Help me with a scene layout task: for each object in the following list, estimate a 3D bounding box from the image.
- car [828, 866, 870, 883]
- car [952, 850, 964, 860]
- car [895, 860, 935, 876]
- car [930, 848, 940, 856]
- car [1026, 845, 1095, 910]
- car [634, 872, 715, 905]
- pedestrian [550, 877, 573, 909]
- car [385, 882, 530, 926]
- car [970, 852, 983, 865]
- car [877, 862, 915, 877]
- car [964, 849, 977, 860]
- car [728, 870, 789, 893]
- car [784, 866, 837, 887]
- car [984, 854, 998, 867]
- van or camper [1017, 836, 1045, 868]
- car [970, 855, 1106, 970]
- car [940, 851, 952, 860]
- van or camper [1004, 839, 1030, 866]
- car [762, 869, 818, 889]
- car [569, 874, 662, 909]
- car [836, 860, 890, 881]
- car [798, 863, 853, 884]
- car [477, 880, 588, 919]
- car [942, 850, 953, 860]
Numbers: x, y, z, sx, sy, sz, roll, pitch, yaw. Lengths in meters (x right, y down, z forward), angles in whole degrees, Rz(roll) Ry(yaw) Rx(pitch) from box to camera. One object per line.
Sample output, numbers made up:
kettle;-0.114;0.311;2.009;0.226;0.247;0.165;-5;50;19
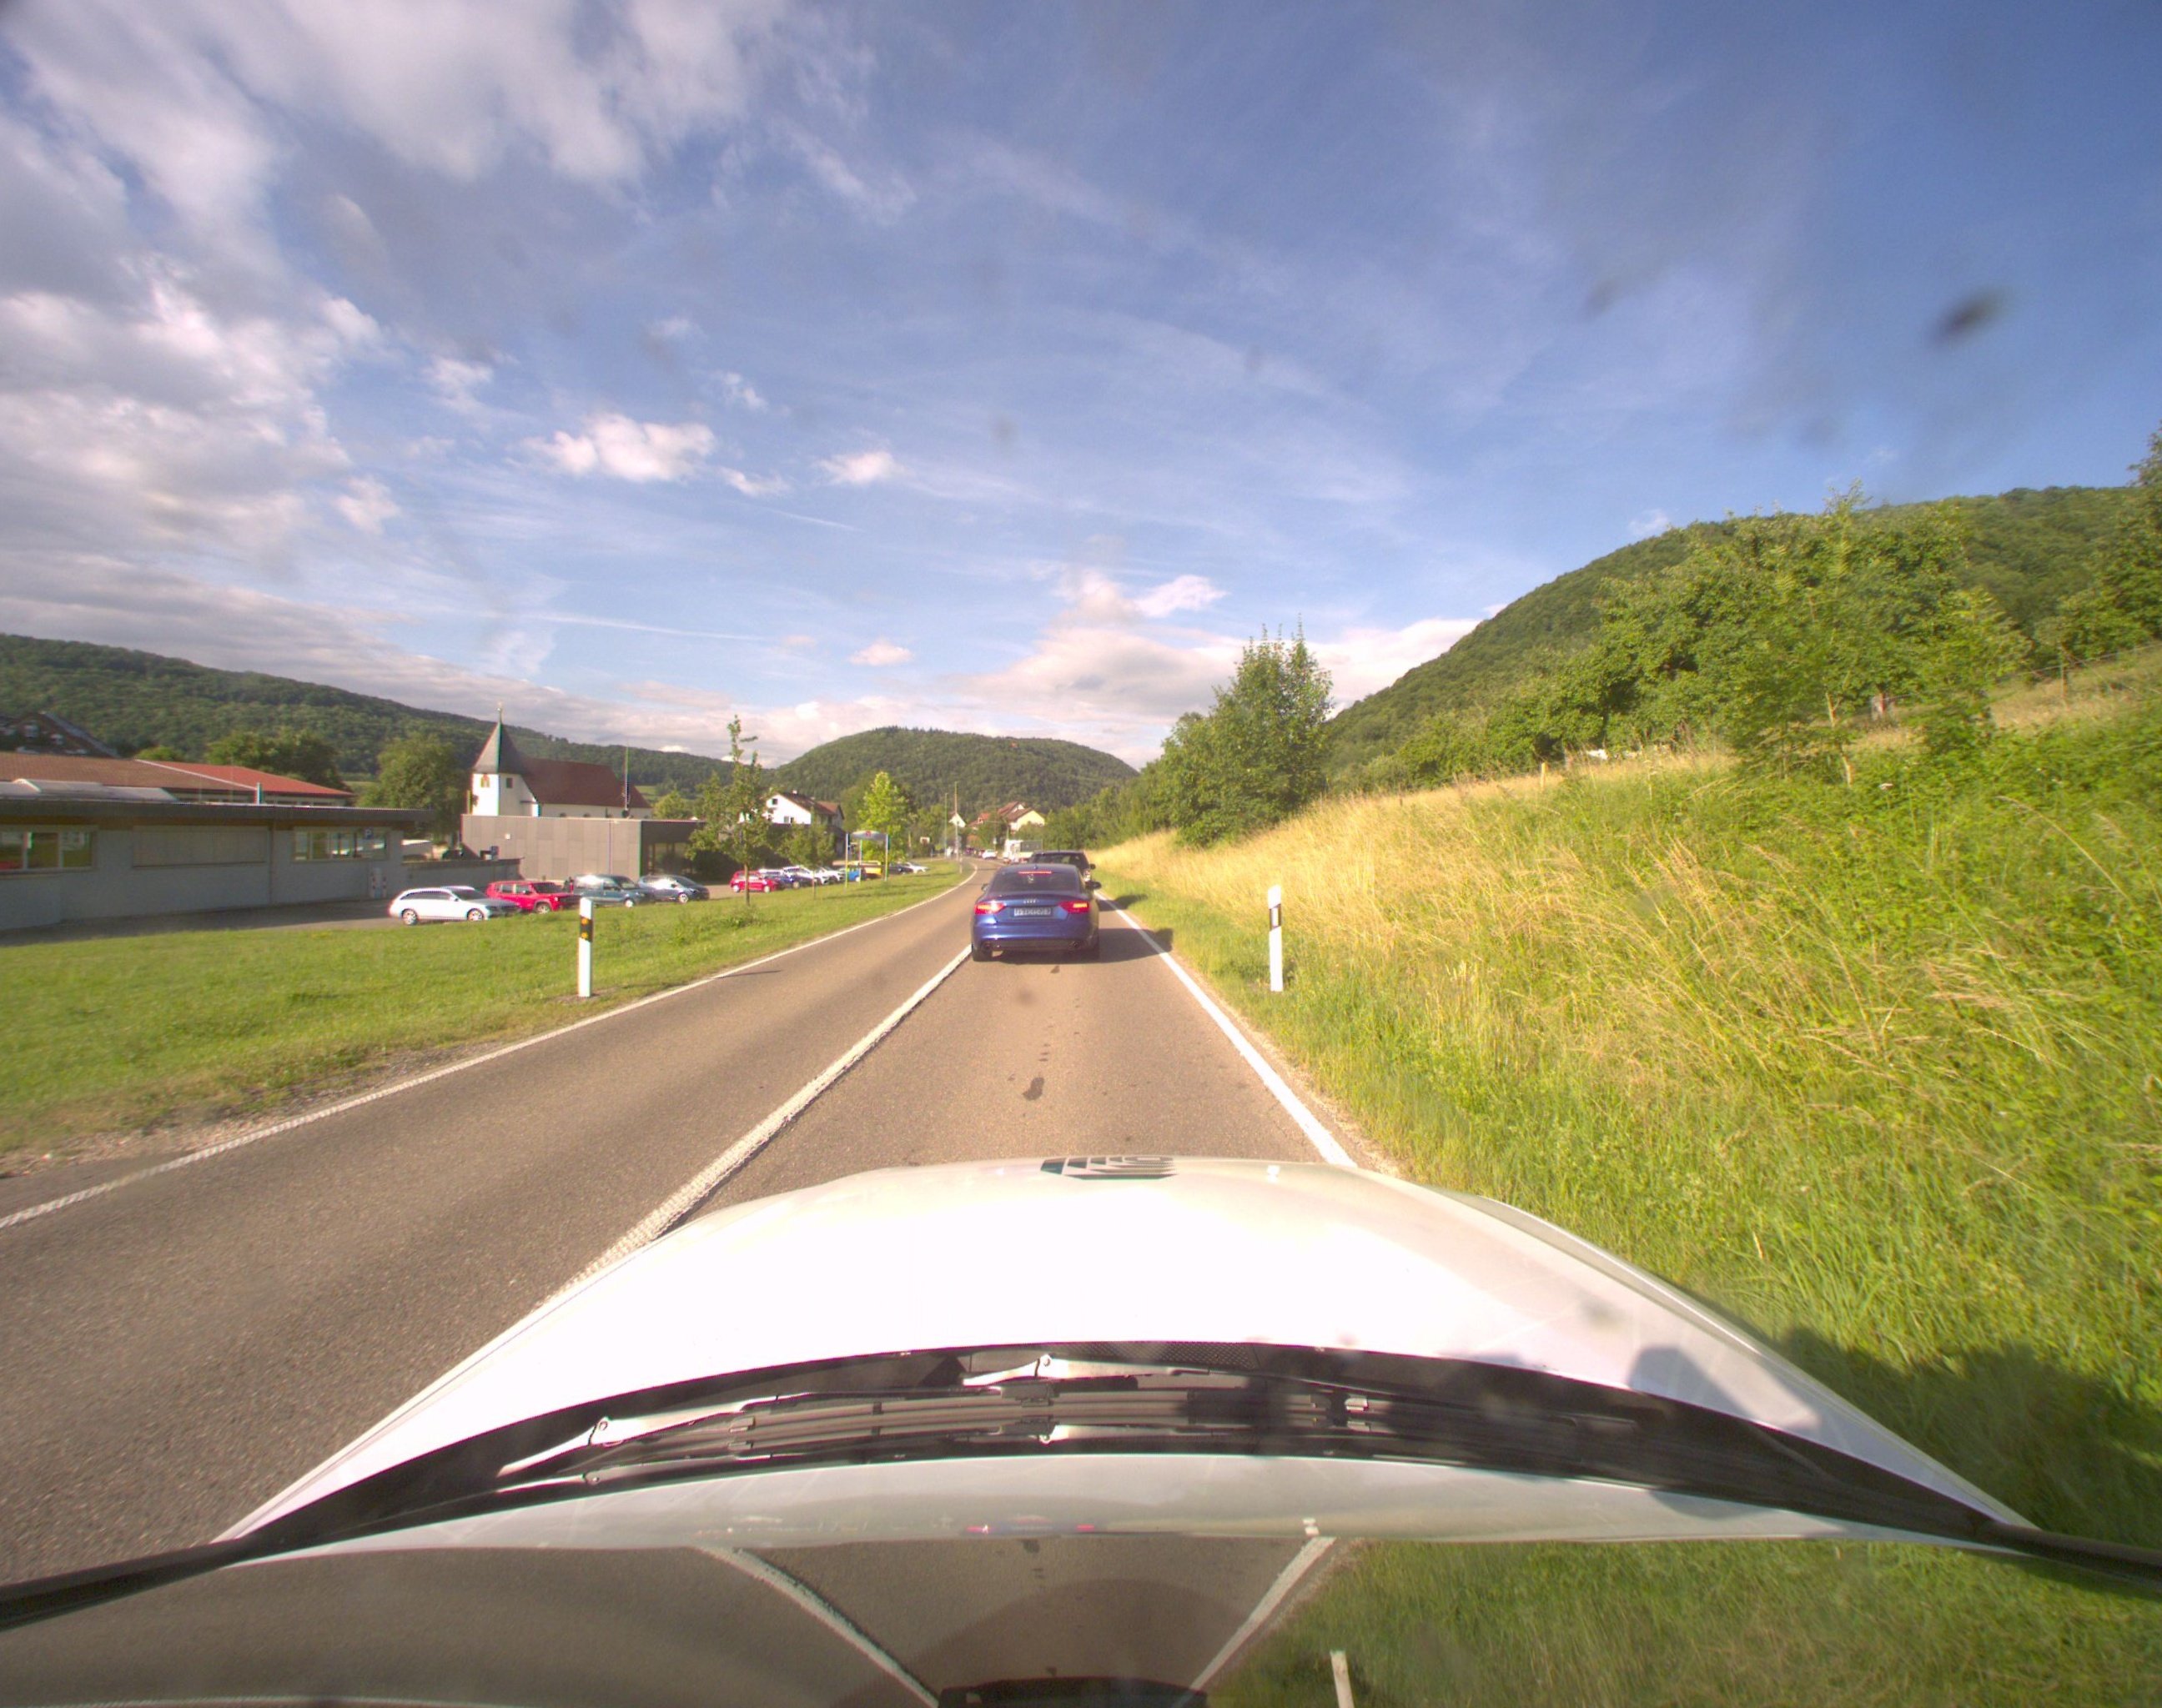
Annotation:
car;-21.334;1.874;74.858;3.359;1.373;1.660;-2;0;-1
car;-24.789;0.245;163.833;1.682;1.924;3.974;-2;0;-19
car;-18.754;1.542;91.847;4.014;1.660;1.659;-2;0;6
car;-35.178;-0.399;195.925;1.681;1.924;3.976;-2;0;-18
car;-0.616;0.594;22.133;1.643;1.625;3.510;0;0;-5
car;-23.550;1.981;47.198;3.799;1.722;1.735;-2;0;5
pedestrian;-27.734;2.089;43.494;0.793;1.693;0.704;0;0;-6
car;-26.065;2.080;34.135;4.617;1.589;2.003;-2;0;5
car;-16.699;0.738;130.174;1.661;1.924;3.983;-2;0;-12
car;-19.924;1.701;87.696;3.693;1.439;1.512;-2;0;6
car;-20.343;0.145;149.894;1.681;1.924;3.977;-2;0;-17
car;-22.679;1.922;57.317;3.605;1.444;1.651;-2;0;6
car;-21.753;1.796;65.628;3.647;1.493;1.600;-2;1;6
car;-13.161;0.941;119.404;1.660;1.924;3.985;-2;0;-11
van or camper;-4.112;-0.149;66.565;2.049;2.505;5.800;-2;0;-5
car;-0.633;0.769;12.477;1.738;1.450;3.513;-2;0;-3
car;-29.939;0.267;180.190;1.960;1.924;3.976;-2;0;-18
van or camper;-6.741;-0.123;85.567;2.280;2.713;5.749;-2;0;-9
car;-22.244;1.899;62.321;3.605;1.405;1.600;-2;1;6
car;-24.332;1.957;42.610;3.844;1.722;1.758;-1;0;3
car;-20.659;1.567;77.366;4.529;1.815;1.845;-2;0;6
car;-21.638;1.651;68.951;4.055;1.673;1.600;-2;0;6
car;-24.895;2.055;37.033;3.900;1.579;1.759;-2;0;5
car;-28.190;0.233;172.423;1.681;1.924;3.976;-2;0;-18
